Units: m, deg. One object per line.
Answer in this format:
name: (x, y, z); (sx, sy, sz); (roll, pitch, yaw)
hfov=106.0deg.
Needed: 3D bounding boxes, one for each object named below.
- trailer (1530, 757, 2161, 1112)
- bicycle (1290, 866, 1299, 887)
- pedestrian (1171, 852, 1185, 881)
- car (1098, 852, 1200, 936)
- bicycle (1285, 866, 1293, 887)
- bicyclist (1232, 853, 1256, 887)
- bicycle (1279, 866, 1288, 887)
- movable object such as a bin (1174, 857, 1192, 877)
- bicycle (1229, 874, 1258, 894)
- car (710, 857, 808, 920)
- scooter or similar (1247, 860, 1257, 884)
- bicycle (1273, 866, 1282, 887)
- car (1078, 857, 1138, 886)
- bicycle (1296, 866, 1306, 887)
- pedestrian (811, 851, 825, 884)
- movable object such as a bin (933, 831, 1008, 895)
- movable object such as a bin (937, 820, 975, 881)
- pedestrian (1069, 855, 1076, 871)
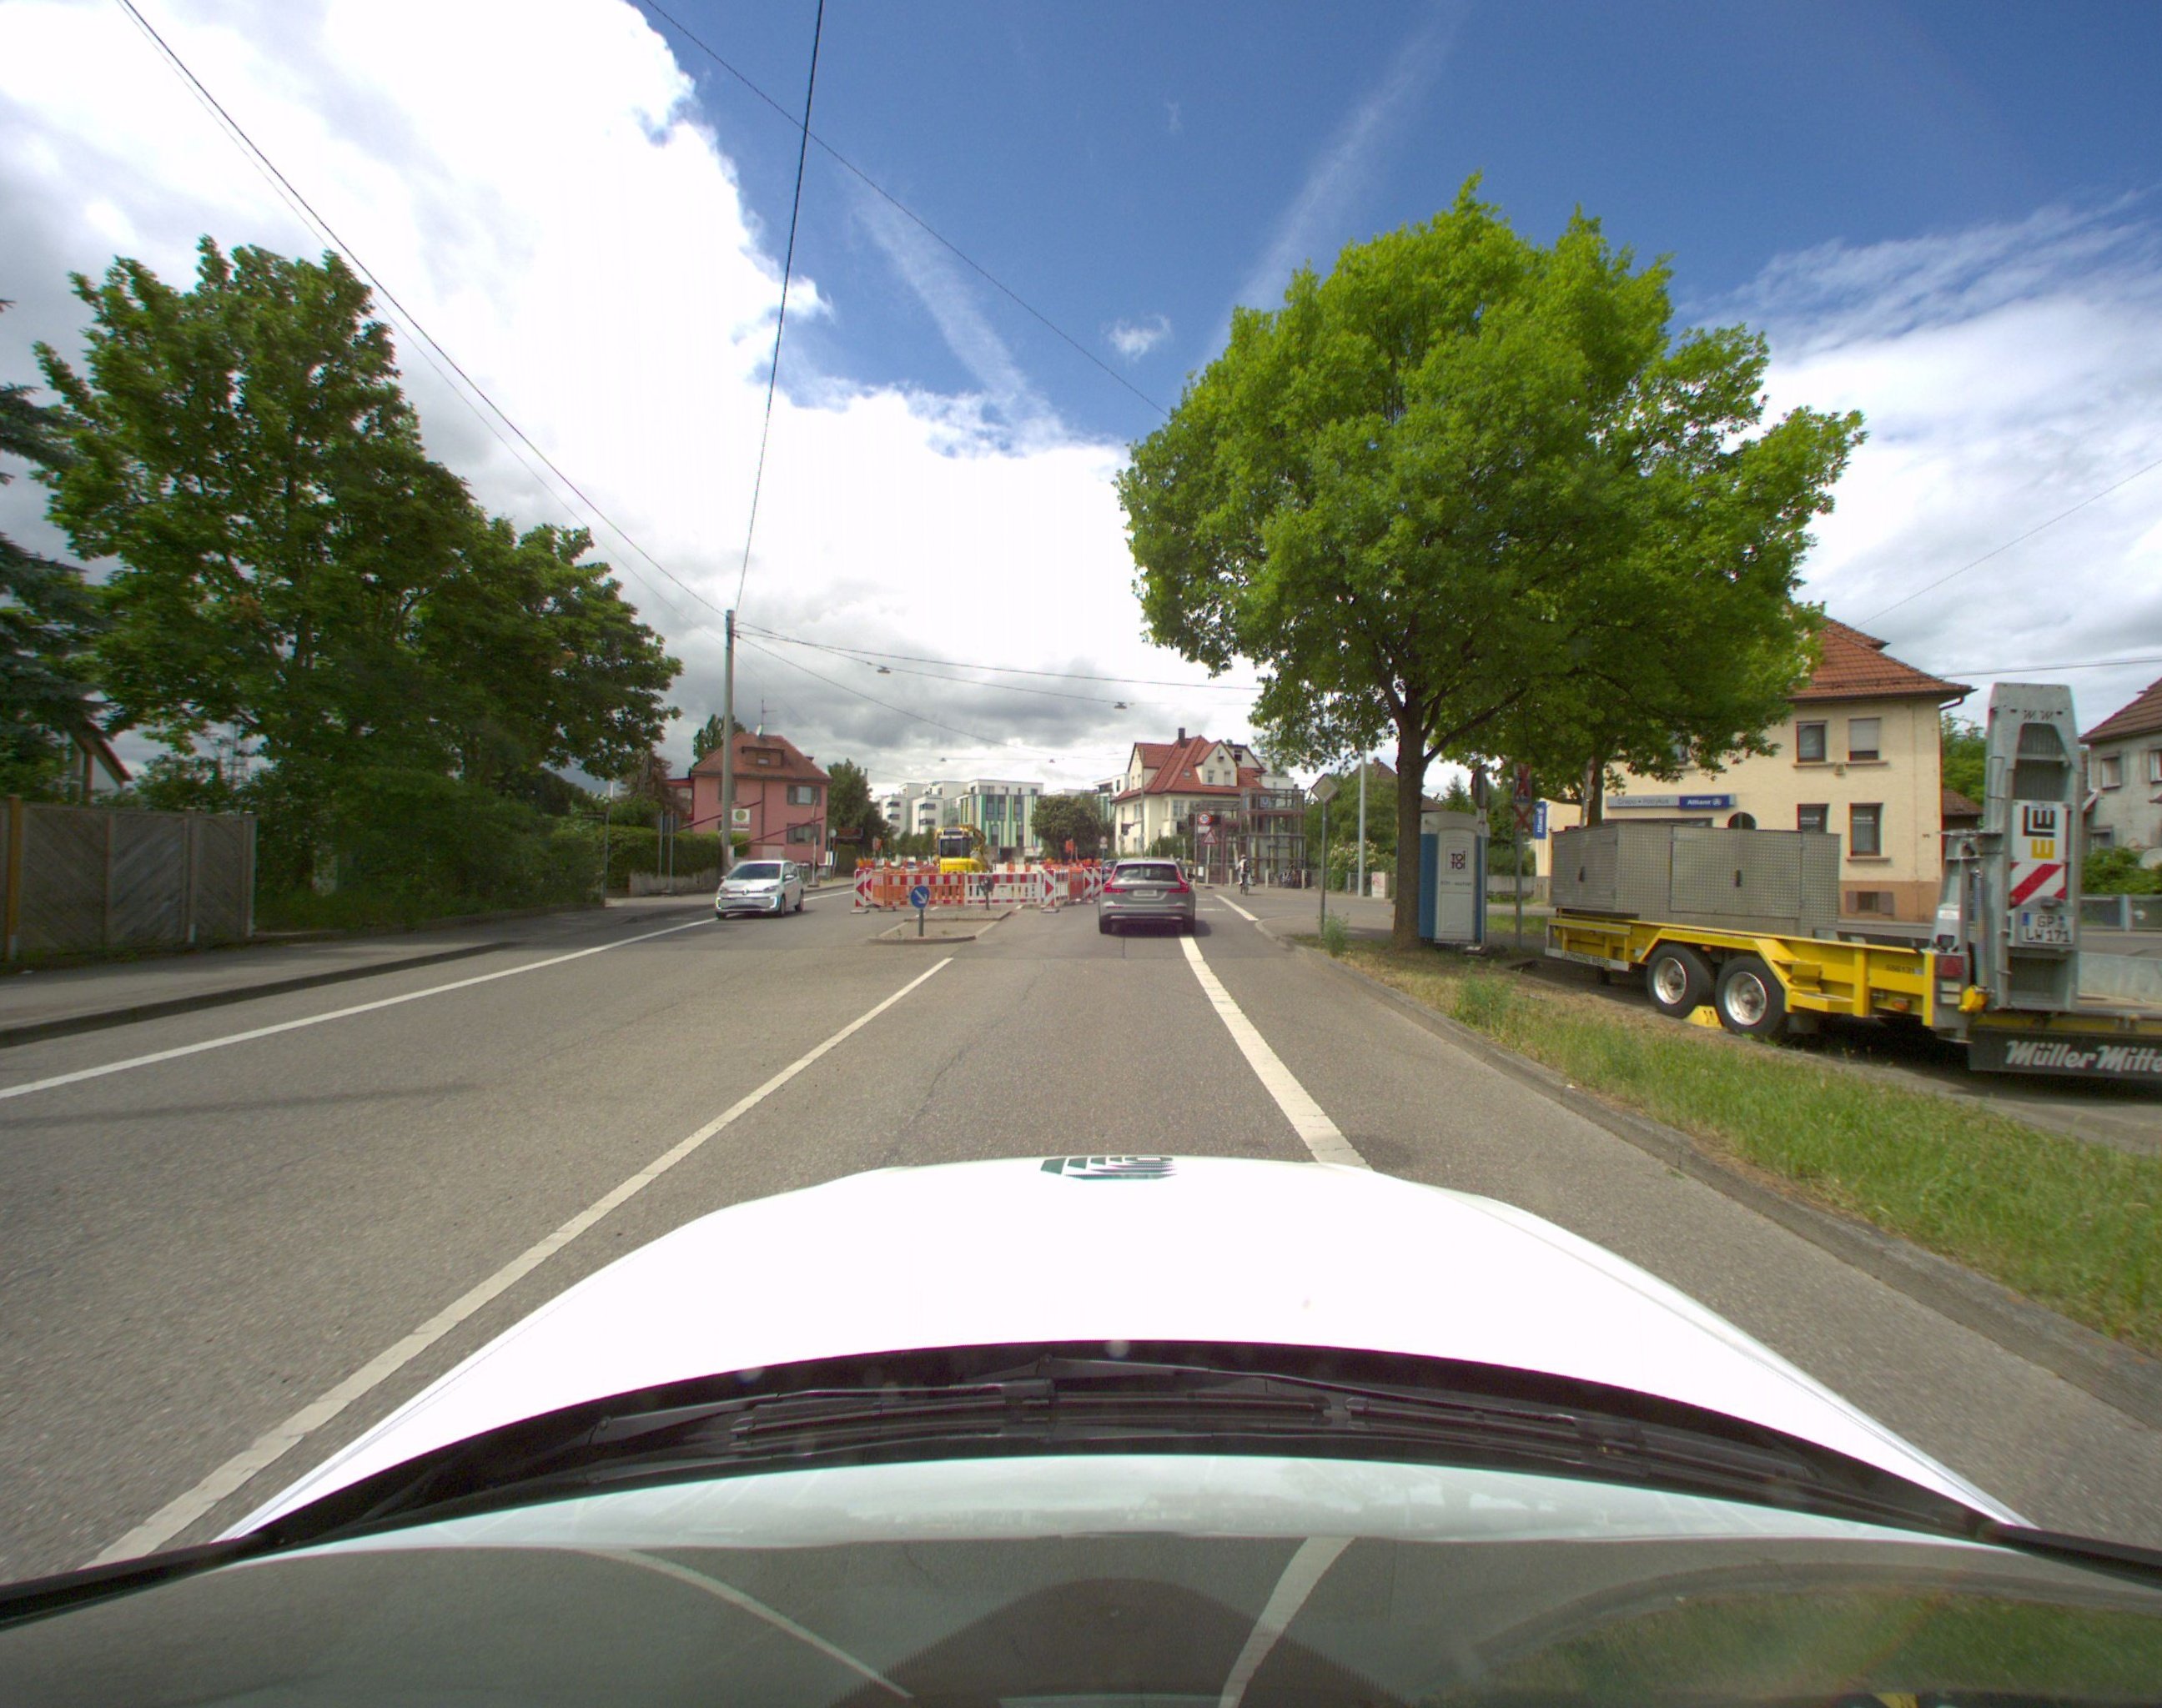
trailer: (7.235, 0.566, 8.091); (2.582, 2.245, 5.678); (3, 0, 3)
bicycle: (10.350, 1.090, 39.472); (0.214, 1.009, 1.191); (0, -1, 4)
pedestrian: (5.550, 0.715, 46.761); (0.597, 1.583, 0.400); (6, -3, -6)
car: (1.300, 0.742, 16.841); (1.847, 1.513, 4.001); (0, -1, 2)
bicycle: (10.087, 1.077, 39.506); (0.214, 1.014, 1.170); (0, -1, 4)
bicyclist: (6.762, 0.654, 33.847); (0.655, 1.416, 1.176); (1, 0, -6)
bicycle: (9.822, 1.086, 39.497); (0.214, 1.001, 1.208); (0, -1, 4)
movable object such as a bin: (7.545, 0.982, 60.222); (1.263, 1.470, 1.004); (1, -1, 1)
bicycle: (6.760, 1.219, 33.895); (0.634, 0.753, 2.058); (1, 0, -5)
car: (-8.583, 0.866, 22.040); (1.694, 1.513, 3.986); (0, -1, -10)
scooter or similar: (8.504, 0.878, 40.564); (0.215, 1.111, 0.945); (0, 2, -4)
bicycle: (9.543, 1.102, 39.521); (0.214, 0.989, 1.205); (0, -1, 4)
car: (1.485, 0.989, 46.870); (1.863, 1.513, 3.967); (2, -1, -25)
bicycle: (10.646, 1.081, 39.447); (0.214, 1.009, 1.191); (0, -1, 4)
pedestrian: (-15.158, 0.801, 46.945); (0.678, 1.886, 0.584); (0, -1, -6)
movable object such as a bin: (-4.847, 0.385, 36.713); (1.984, 2.626, 6.530); (0, -1, 4)
movable object such as a bin: (-9.574, -0.175, 61.854); (2.591, 4.221, 11.083); (0, -1, -10)
pedestrian: (-0.846, 0.856, 79.677); (0.515, 1.540, 0.640); (-1, -1, 23)
